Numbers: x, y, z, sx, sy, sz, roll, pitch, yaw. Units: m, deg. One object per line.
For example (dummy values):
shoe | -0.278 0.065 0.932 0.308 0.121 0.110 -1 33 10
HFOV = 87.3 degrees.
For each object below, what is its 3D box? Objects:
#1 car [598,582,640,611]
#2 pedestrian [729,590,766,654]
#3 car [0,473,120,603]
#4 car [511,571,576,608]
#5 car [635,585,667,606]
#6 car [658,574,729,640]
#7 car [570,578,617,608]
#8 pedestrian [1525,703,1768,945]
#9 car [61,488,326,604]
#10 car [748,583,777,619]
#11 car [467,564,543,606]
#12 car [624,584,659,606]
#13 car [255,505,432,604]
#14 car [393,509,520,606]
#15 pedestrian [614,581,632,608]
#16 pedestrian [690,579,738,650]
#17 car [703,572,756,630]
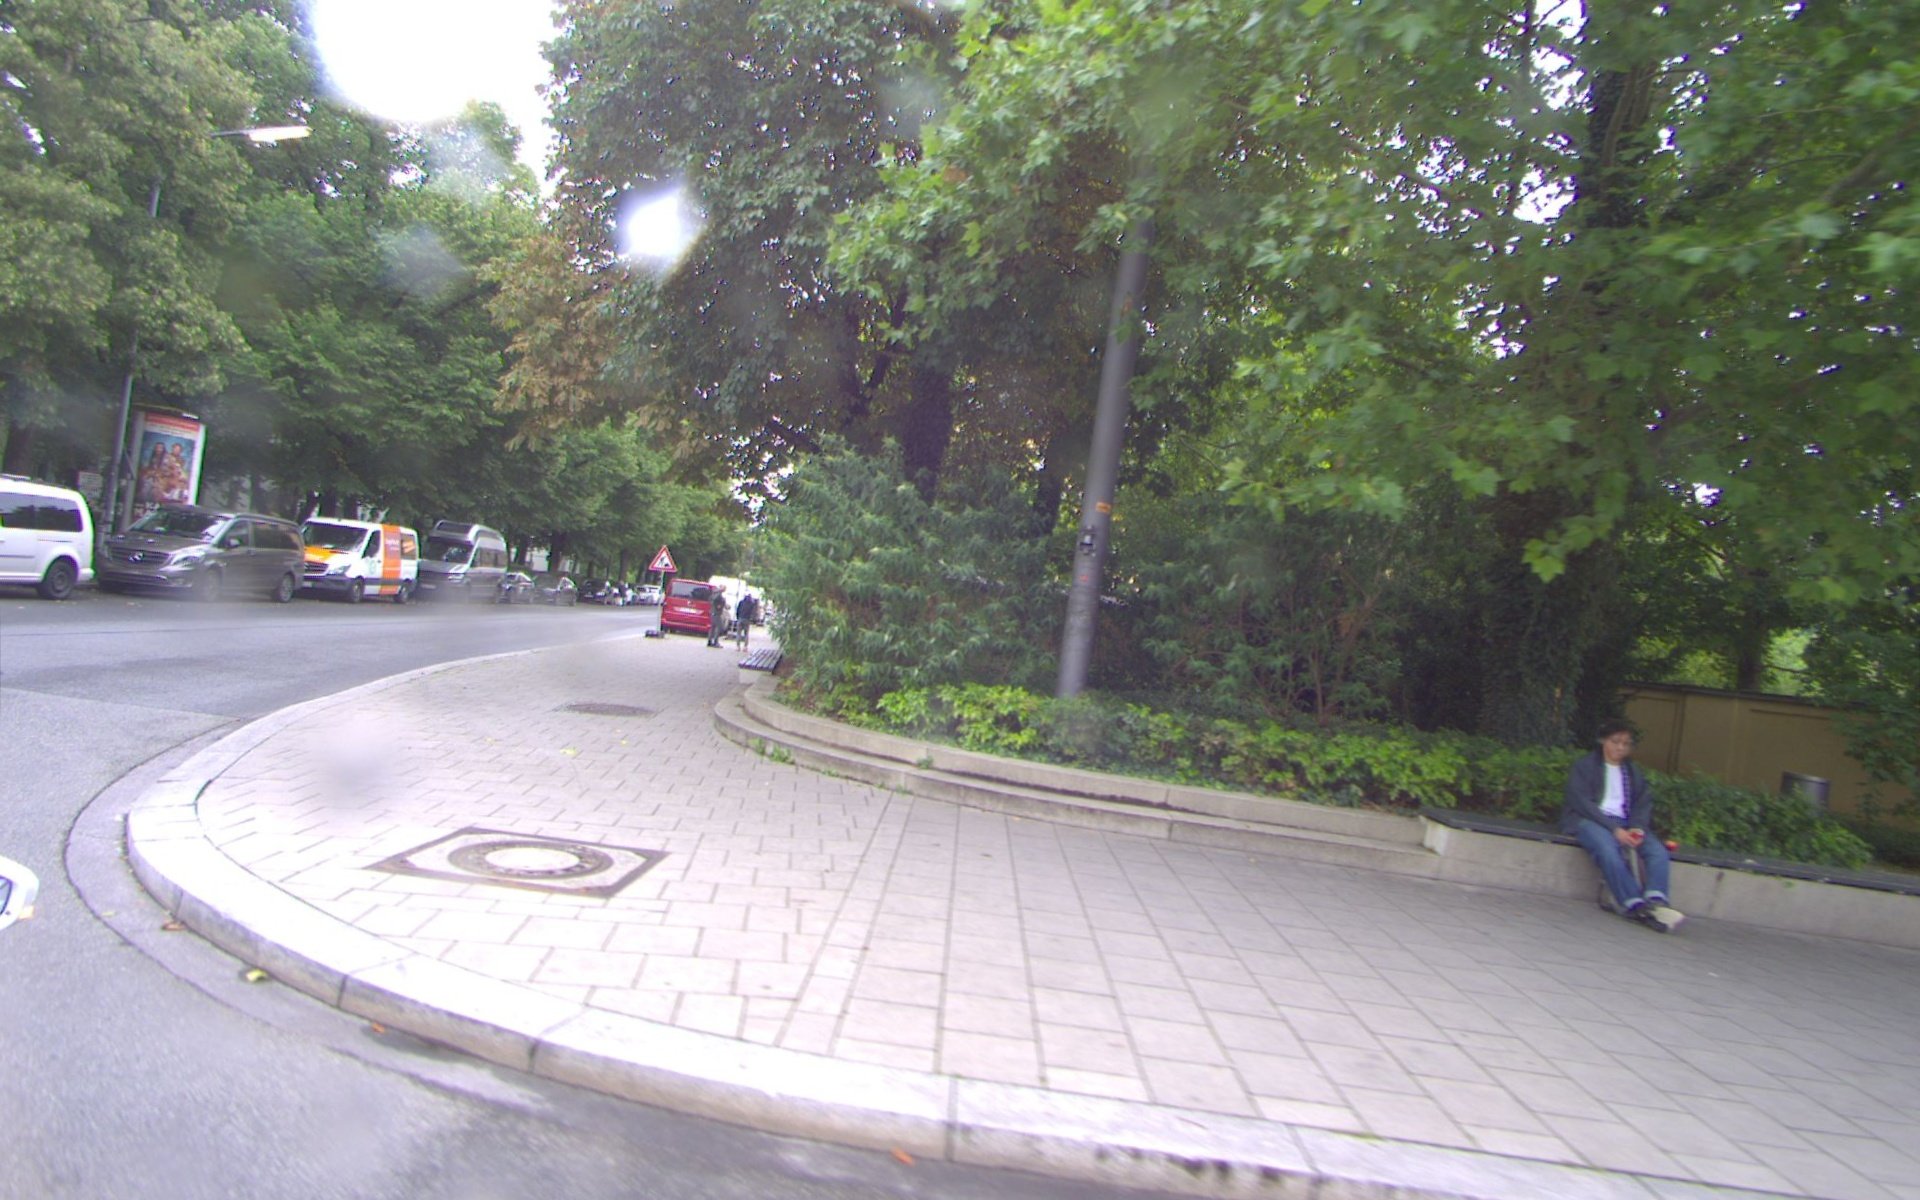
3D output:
car | -23.228 -0.239 68.668 1.968 1.638 4.122 8 -2 -11
pedestrian | -5.985 0.610 28.266 0.628 1.687 0.692 8 0 -31
car | -15.416 -1.077 14.923 2.055 1.925 4.854 8 -2 -7
car | -20.132 -0.489 48.816 1.968 1.436 4.122 8 -2 -11
car | -25.832 -0.364 84.241 1.968 1.436 3.993 8 -2 -11
car | -9.552 0.264 36.440 1.886 1.959 4.961 8 -2 -11
car | -22.586 -0.386 62.138 1.968 1.504 4.122 8 -2 -11
pedestrian | 4.719 1.493 7.018 0.757 1.372 1.132 8 -1 1
car | -16.150 -0.989 21.710 1.998 1.930 5.659 7 -1 -10
car | -16.337 0.100 83.158 1.817 2.653 4.373 8 -1 -14
car | -19.506 -0.597 43.301 1.968 1.436 3.993 8 -2 -11
car | -24.839 -0.363 78.528 1.968 1.436 3.993 8 -2 -11
car | -17.405 -1.146 28.825 2.054 2.292 5.597 6 -1 -8
car | -18.653 -1.436 37.680 2.143 3.037 6.225 8 -1 -9
pedestrian | -21.657 -0.342 64.640 0.873 1.616 0.821 8 -1 -16
pedestrian | -6.977 0.399 28.549 0.815 1.858 0.943 8 -1 -36
car | -11.832 0.080 51.985 1.966 2.588 5.424 8 -1 -8
